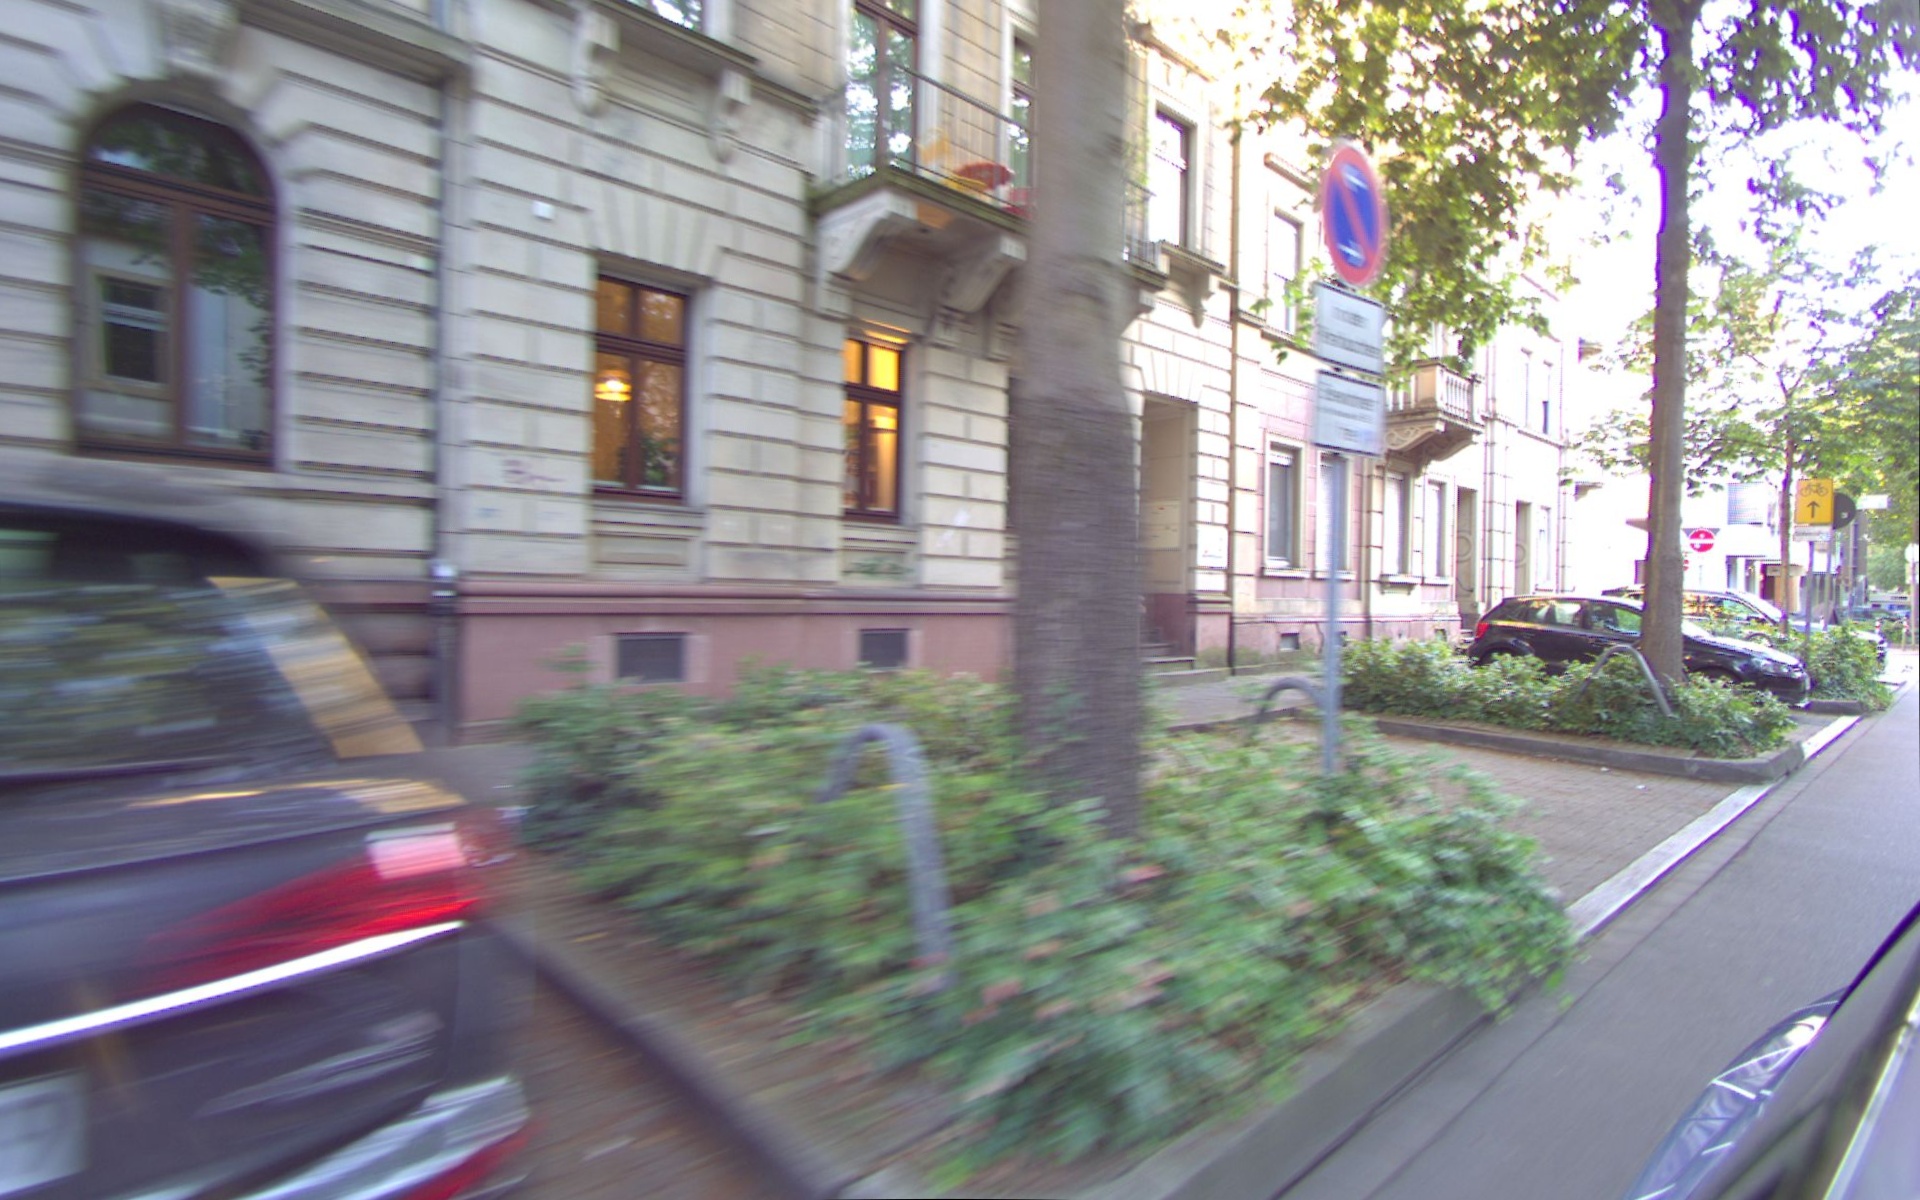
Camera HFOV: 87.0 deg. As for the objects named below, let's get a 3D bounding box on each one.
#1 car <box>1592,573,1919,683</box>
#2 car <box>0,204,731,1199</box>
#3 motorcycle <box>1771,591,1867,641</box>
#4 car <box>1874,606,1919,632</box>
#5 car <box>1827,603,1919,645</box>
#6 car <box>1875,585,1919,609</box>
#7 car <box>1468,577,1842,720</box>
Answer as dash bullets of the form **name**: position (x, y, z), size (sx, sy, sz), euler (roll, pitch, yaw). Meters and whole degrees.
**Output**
- **car**: position (14.596, 0.427, 18.778), size (1.831, 1.580, 4.429), euler (2, 3, -36)
- **car**: position (-2.549, 0.416, 2.422), size (1.935, 1.739, 4.446), euler (0, 3, -43)
- **motorcycle**: position (27.494, 0.506, 32.437), size (2.229, 1.565, 0.765), euler (0, 0, 32)
- **car**: position (53.962, 1.058, 57.005), size (1.563, 1.438, 3.546), euler (1, -2, -43)
- **car**: position (39.318, 1.008, 42.574), size (1.563, 1.697, 4.159), euler (1, -2, -43)
- **car**: position (59.473, -0.219, 63.030), size (1.563, 1.438, 3.546), euler (1, -2, -43)
- **car**: position (9.312, 0.541, 13.778), size (1.752, 1.445, 3.870), euler (1, 3, -44)
